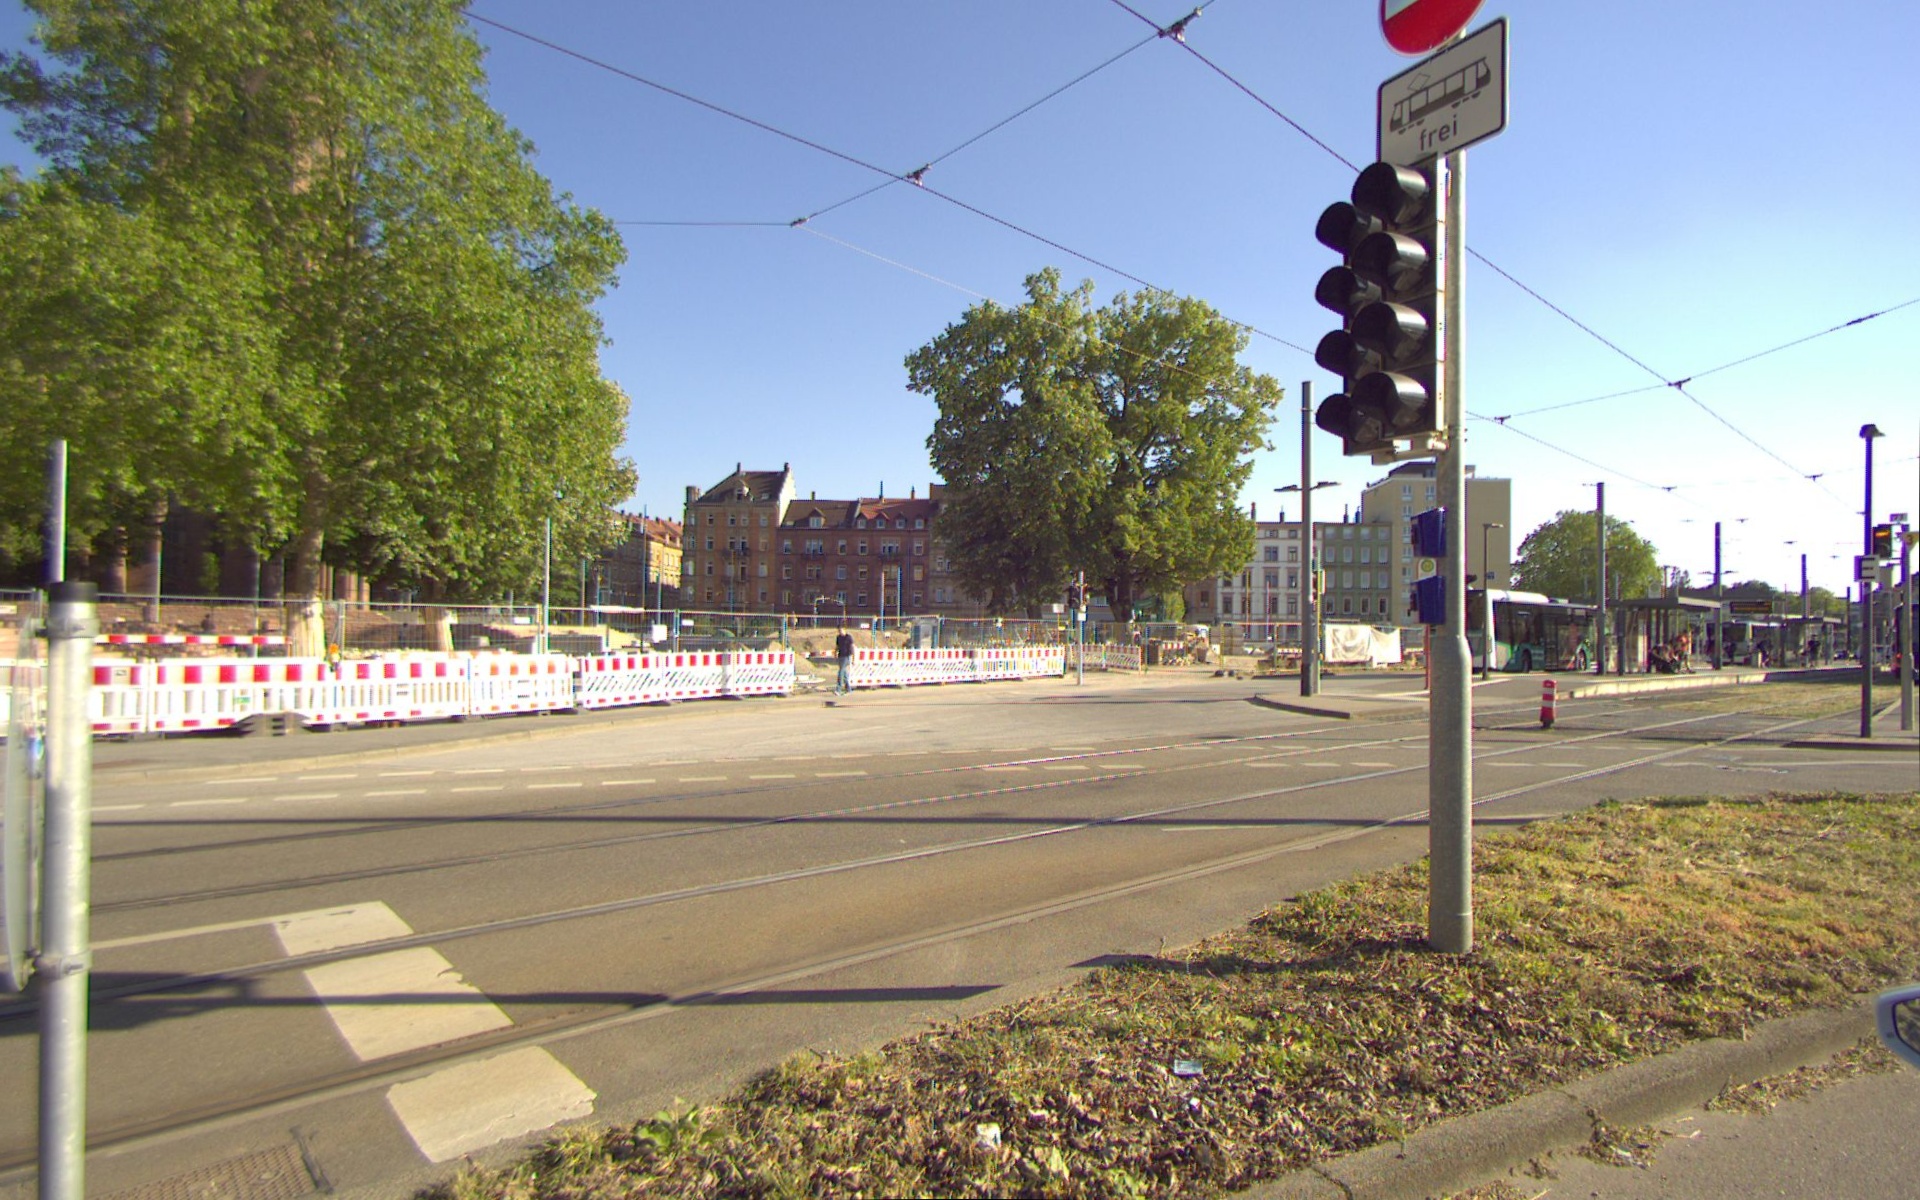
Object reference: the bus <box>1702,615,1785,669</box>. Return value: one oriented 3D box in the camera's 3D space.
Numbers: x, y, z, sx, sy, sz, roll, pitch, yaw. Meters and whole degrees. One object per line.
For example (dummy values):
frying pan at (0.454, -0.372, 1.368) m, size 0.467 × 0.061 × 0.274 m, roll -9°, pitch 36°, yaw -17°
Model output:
bus at (53.691, 2.859, 68.646) m, size 13.377 × 3.317 × 2.694 m, roll 2°, pitch 0°, yaw -44°

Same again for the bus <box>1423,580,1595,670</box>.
bus at (21.881, 1.002, 39.699) m, size 9.565 × 3.177 × 2.631 m, roll 2°, pitch 0°, yaw -40°

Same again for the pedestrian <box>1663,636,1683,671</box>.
pedestrian at (27.990, 2.105, 39.426) m, size 0.564 × 1.363 × 0.636 m, roll -1°, pitch -2°, yaw 43°

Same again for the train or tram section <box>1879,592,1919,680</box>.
train or tram section at (44.631, 1.670, 45.786) m, size 12.109 × 3.644 × 2.855 m, roll 2°, pitch 0°, yaw -42°

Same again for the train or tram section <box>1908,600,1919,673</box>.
train or tram section at (53.764, 2.034, 53.743) m, size 12.100 × 3.644 × 2.987 m, roll 2°, pitch 0°, yaw -40°

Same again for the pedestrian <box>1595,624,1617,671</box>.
pedestrian at (24.749, 1.802, 38.464) m, size 0.554 × 1.772 × 0.534 m, roll 2°, pitch -2°, yaw -35°

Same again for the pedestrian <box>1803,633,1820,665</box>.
pedestrian at (46.412, 2.667, 54.736) m, size 0.629 × 1.772 × 0.570 m, roll 0°, pitch -2°, yaw 34°

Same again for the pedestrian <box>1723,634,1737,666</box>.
pedestrian at (44.288, 2.870, 57.764) m, size 0.564 × 1.772 × 0.636 m, roll -1°, pitch -2°, yaw 41°

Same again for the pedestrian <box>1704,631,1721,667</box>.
pedestrian at (37.910, 2.478, 50.598) m, size 0.629 × 1.772 × 0.570 m, roll 0°, pitch -2°, yaw 34°

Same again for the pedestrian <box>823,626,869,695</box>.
pedestrian at (-2.882, 1.537, 25.423) m, size 0.699 × 1.719 × 0.899 m, roll -1°, pitch -4°, yaw 33°

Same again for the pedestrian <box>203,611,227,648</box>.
pedestrian at (-33.722, 1.333, 45.471) m, size 0.665 × 1.669 × 0.635 m, roll 1°, pitch -1°, yaw -18°

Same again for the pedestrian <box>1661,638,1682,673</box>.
pedestrian at (27.551, 2.138, 38.883) m, size 0.609 × 1.358 × 0.438 m, roll -1°, pitch -2°, yaw 44°

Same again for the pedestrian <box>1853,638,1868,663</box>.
pedestrian at (64.233, 3.613, 71.647) m, size 0.634 × 1.772 × 0.728 m, roll 2°, pitch -2°, yaw -37°

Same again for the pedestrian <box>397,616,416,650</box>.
pedestrian at (-27.738, 1.642, 50.381) m, size 0.751 × 1.669 × 0.671 m, roll 1°, pitch -1°, yaw -26°

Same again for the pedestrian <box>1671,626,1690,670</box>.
pedestrian at (29.231, 1.939, 40.753) m, size 0.564 × 1.772 × 0.636 m, roll -1°, pitch -2°, yaw 43°
